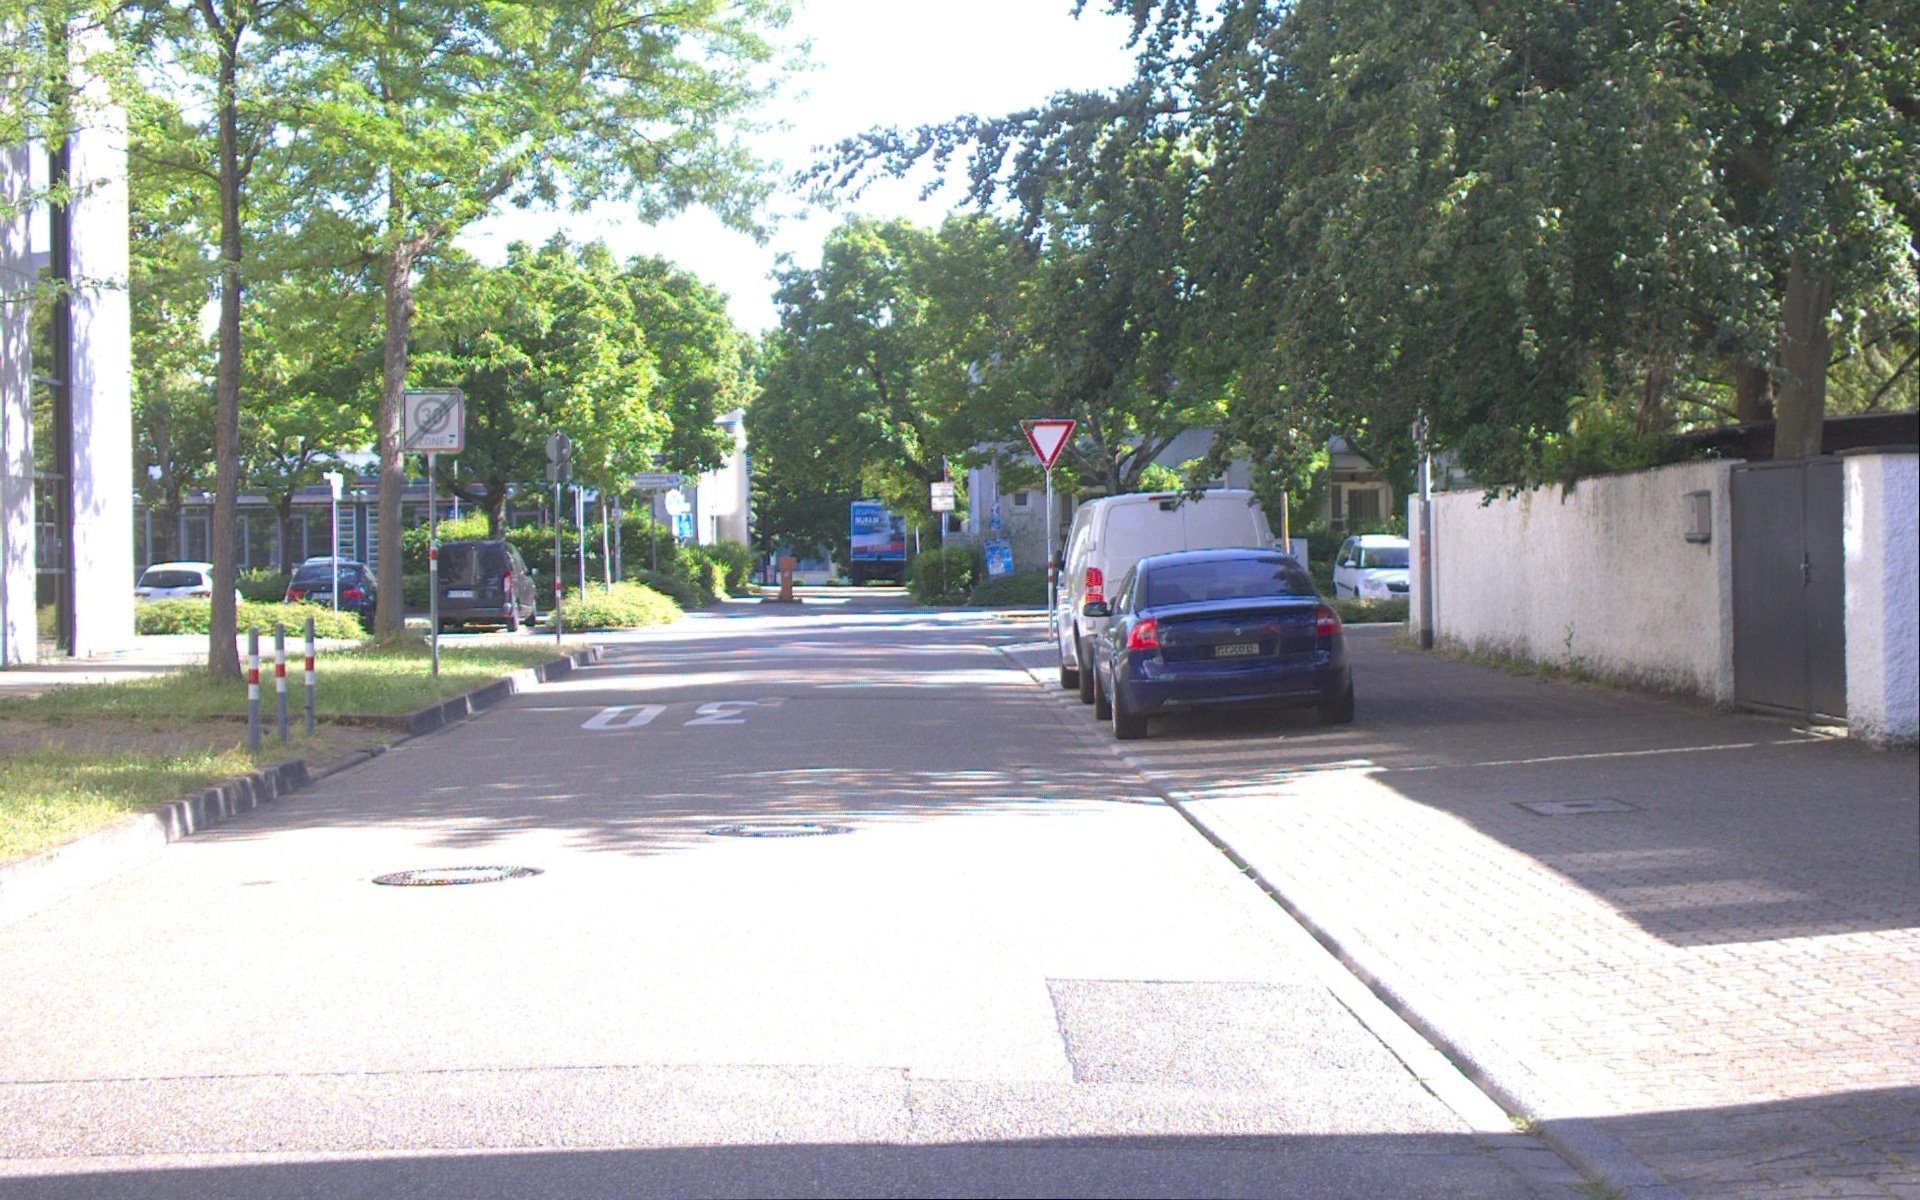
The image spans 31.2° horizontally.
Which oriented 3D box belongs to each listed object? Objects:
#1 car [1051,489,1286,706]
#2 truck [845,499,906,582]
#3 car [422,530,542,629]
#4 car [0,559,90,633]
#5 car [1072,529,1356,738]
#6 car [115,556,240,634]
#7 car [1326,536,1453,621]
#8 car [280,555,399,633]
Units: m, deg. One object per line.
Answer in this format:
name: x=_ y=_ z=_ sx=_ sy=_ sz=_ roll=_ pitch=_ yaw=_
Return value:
car: x=1.942 y=-0.056 z=33.493 sx=1.898 sy=1.907 sz=5.148 roll=-1 pitch=1 yaw=0
truck: x=-4.007 y=-2.831 z=164.070 sx=2.760 sy=3.856 sz=9.330 roll=1 pitch=1 yaw=-1
car: x=-9.579 y=-0.447 z=69.185 sx=1.874 sy=1.840 sz=4.169 roll=-1 pitch=2 yaw=-1
car: x=-18.677 y=-0.105 z=68.916 sx=1.667 sy=1.421 sz=3.912 roll=0 pitch=1 yaw=-3
car: x=1.921 y=0.212 z=27.235 sx=1.825 sy=1.418 sz=4.283 roll=-3 pitch=1 yaw=0
car: x=-15.748 y=-0.128 z=69.322 sx=1.802 sy=1.431 sz=3.913 roll=0 pitch=2 yaw=-3
car: x=8.633 y=-0.457 z=69.354 sx=1.823 sy=1.592 sz=4.169 roll=-1 pitch=2 yaw=-3
car: x=-12.454 y=-0.144 z=69.177 sx=1.823 sy=1.401 sz=4.169 roll=-1 pitch=2 yaw=-3
